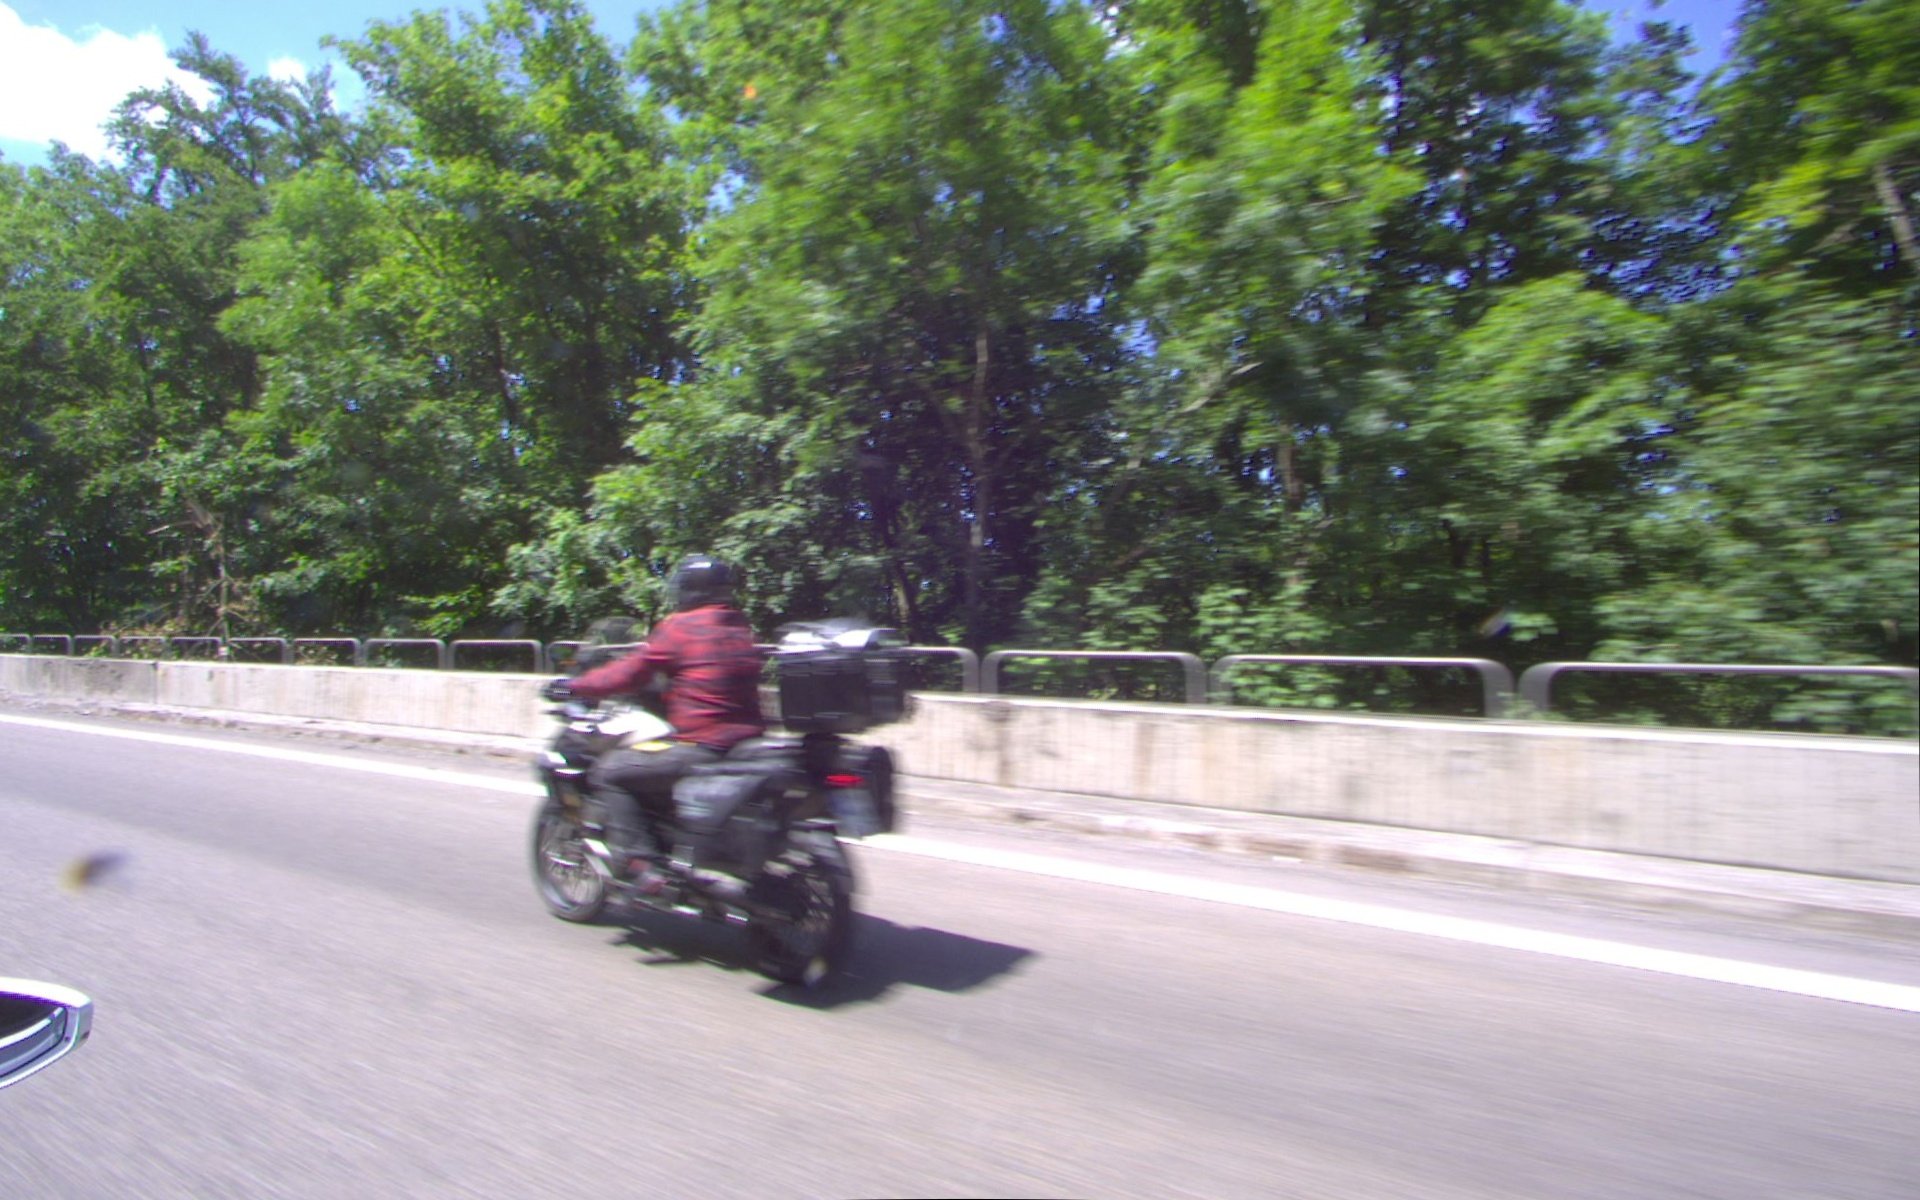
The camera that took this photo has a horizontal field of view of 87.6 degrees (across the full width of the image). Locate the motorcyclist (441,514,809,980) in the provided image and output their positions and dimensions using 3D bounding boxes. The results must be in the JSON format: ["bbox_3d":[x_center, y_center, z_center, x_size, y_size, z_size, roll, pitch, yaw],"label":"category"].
[{"bbox_3d":[-1.567,0.597,4.738,1.319,1.823,1.058,0,-1,33],"label":"motorcyclist"}]

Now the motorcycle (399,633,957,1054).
[{"bbox_3d":[-1.380,0.879,4.600,2.643,1.438,0.971,-1,-2,33],"label":"motorcycle"}]
